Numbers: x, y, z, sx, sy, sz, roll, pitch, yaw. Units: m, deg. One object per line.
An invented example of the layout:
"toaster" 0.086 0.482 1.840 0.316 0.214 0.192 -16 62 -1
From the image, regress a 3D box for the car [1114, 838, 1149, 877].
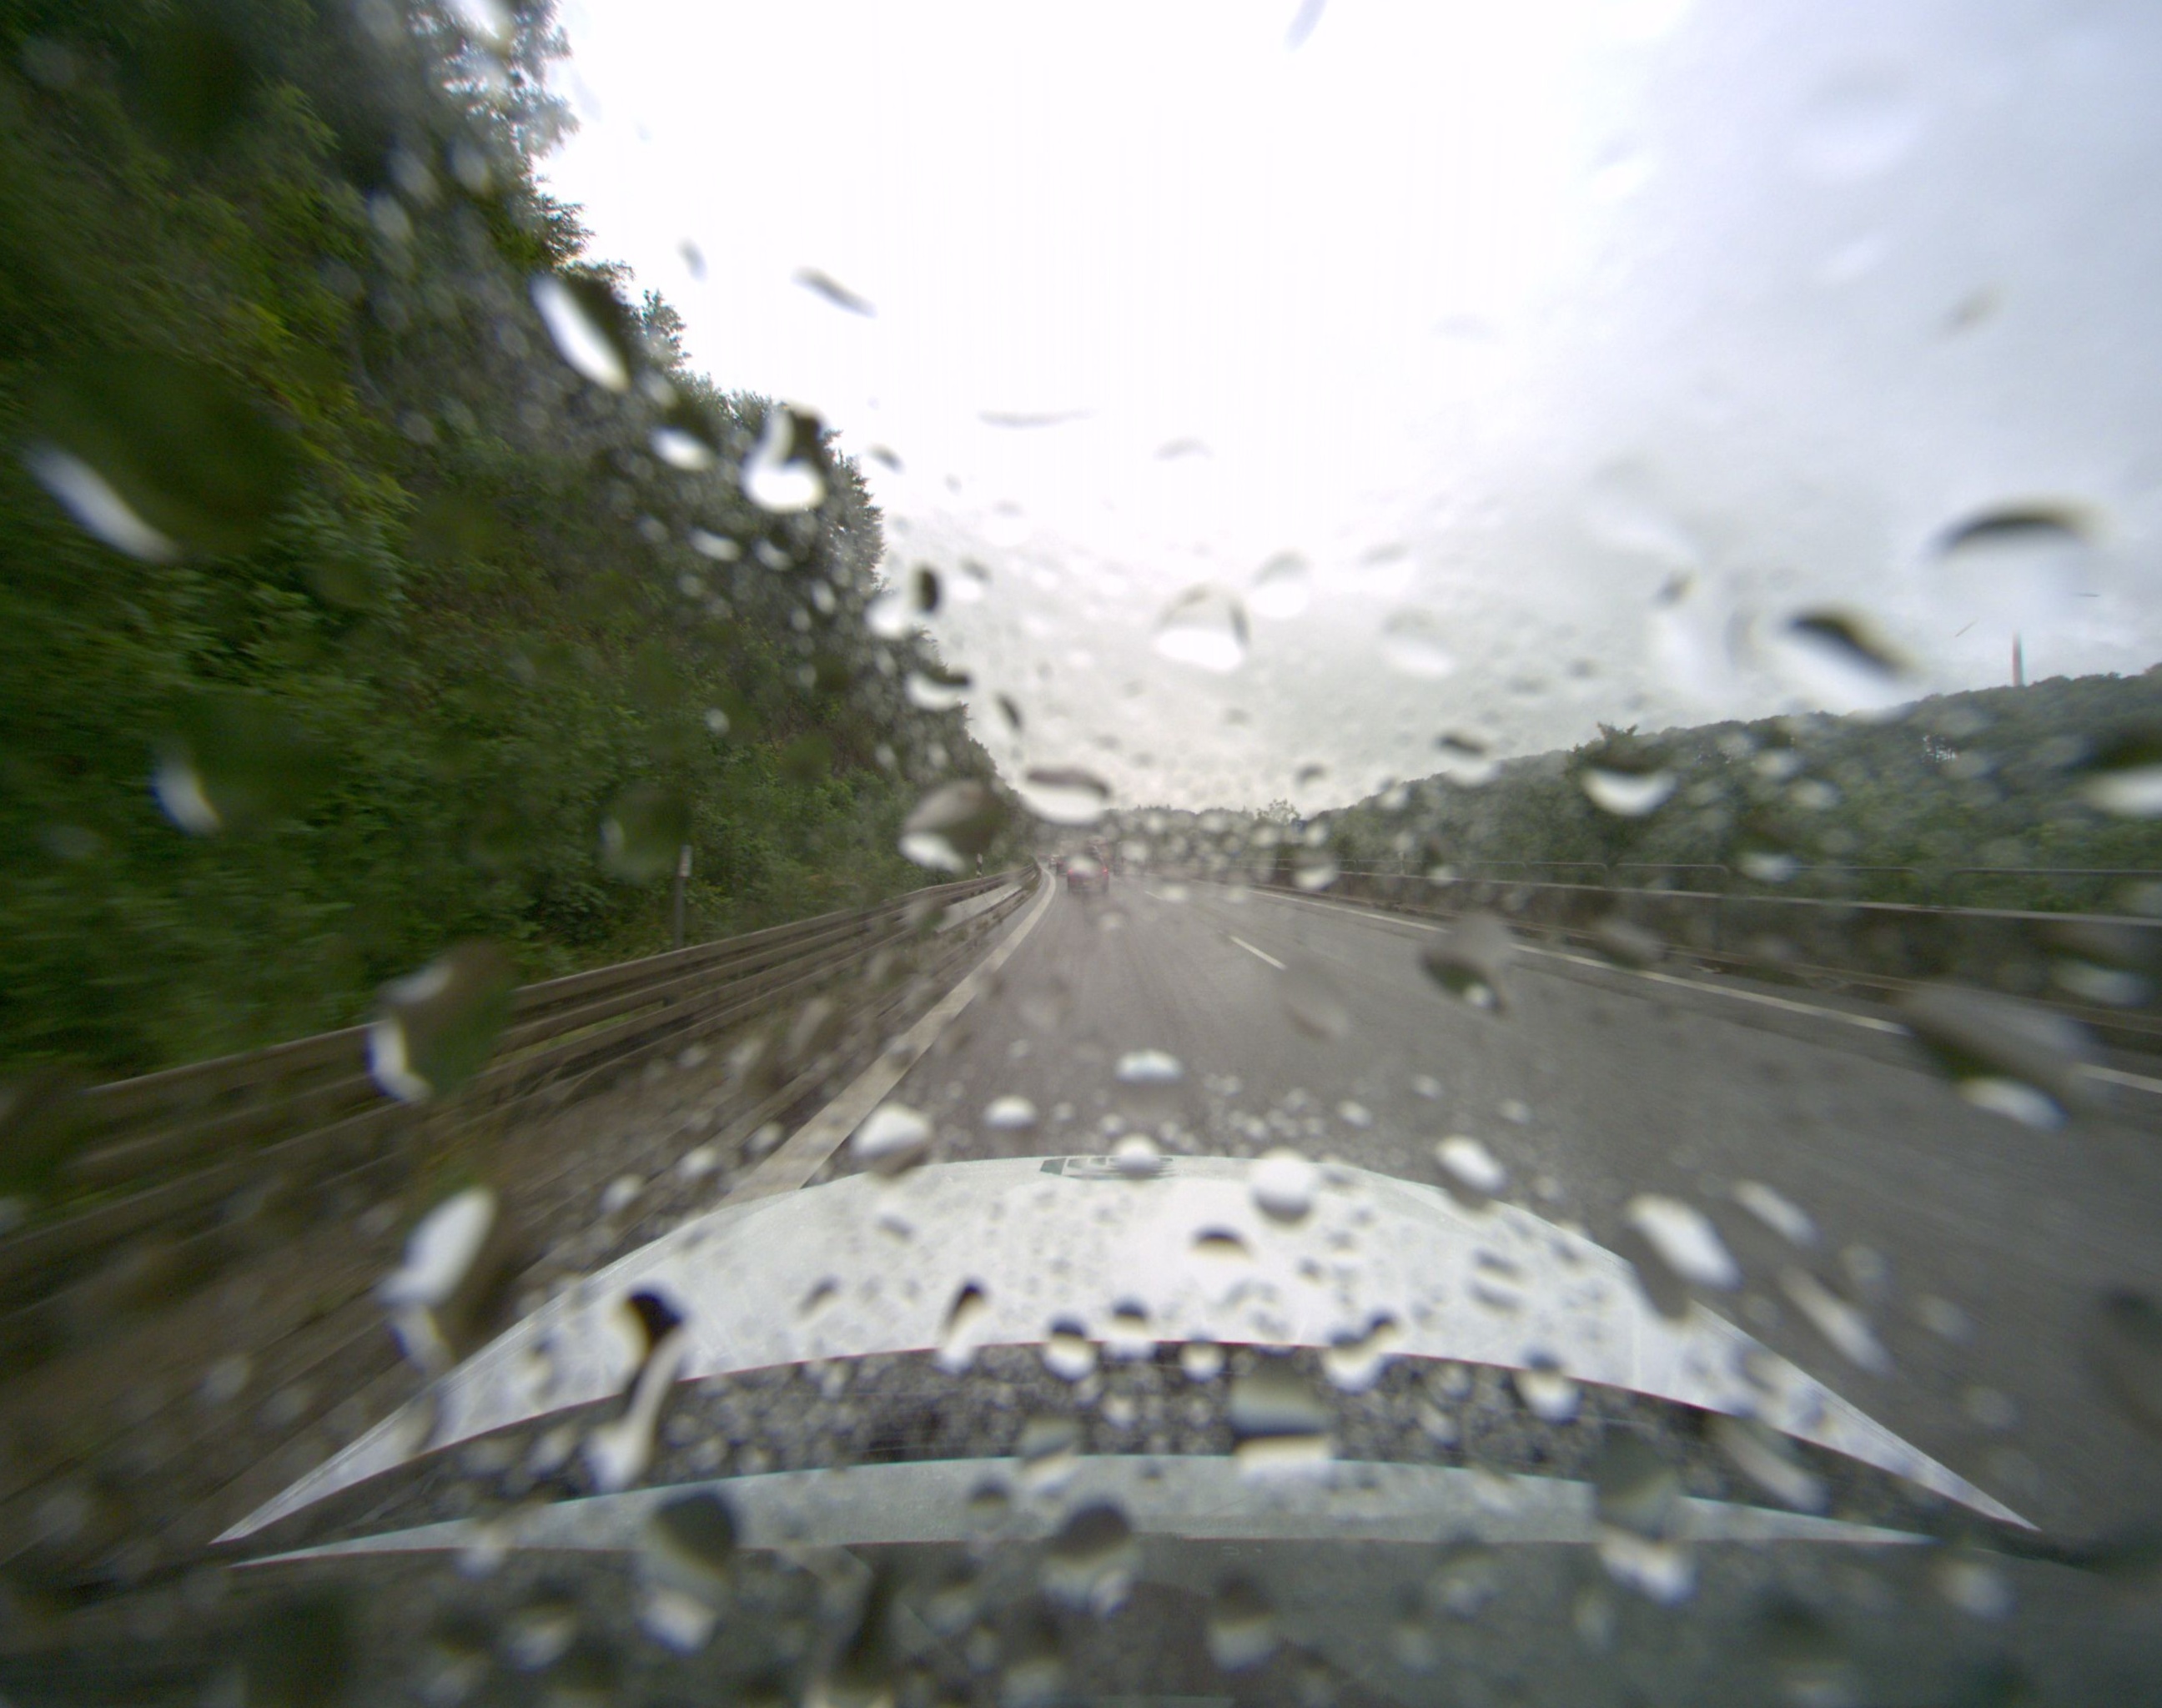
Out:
"car" 3.886 0.286 63.902 2.199 2.794 7.381 3 0 0

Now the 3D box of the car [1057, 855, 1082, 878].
"car" -0.867 0.921 62.097 1.818 1.696 3.998 -1 -1 -1

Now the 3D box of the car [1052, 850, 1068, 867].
"car" -2.272 0.493 87.448 1.712 1.817 3.888 -1 -1 -3

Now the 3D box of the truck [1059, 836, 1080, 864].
"truck" -2.073 -0.663 142.639 3.216 4.682 8.288 -1 -1 -4

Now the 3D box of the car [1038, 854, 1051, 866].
"car" -6.320 1.078 139.565 1.987 2.014 4.000 -1 -1 0

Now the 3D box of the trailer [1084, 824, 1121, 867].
"trailer" 2.117 -0.756 84.894 3.209 3.999 13.517 1 0 -1

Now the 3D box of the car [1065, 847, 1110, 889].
"car" 0.228 0.577 34.825 1.753 1.684 3.997 -1 -1 -1

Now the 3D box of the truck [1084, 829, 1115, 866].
"truck" 1.987 -0.695 91.876 3.210 3.978 5.436 1 -1 -1
